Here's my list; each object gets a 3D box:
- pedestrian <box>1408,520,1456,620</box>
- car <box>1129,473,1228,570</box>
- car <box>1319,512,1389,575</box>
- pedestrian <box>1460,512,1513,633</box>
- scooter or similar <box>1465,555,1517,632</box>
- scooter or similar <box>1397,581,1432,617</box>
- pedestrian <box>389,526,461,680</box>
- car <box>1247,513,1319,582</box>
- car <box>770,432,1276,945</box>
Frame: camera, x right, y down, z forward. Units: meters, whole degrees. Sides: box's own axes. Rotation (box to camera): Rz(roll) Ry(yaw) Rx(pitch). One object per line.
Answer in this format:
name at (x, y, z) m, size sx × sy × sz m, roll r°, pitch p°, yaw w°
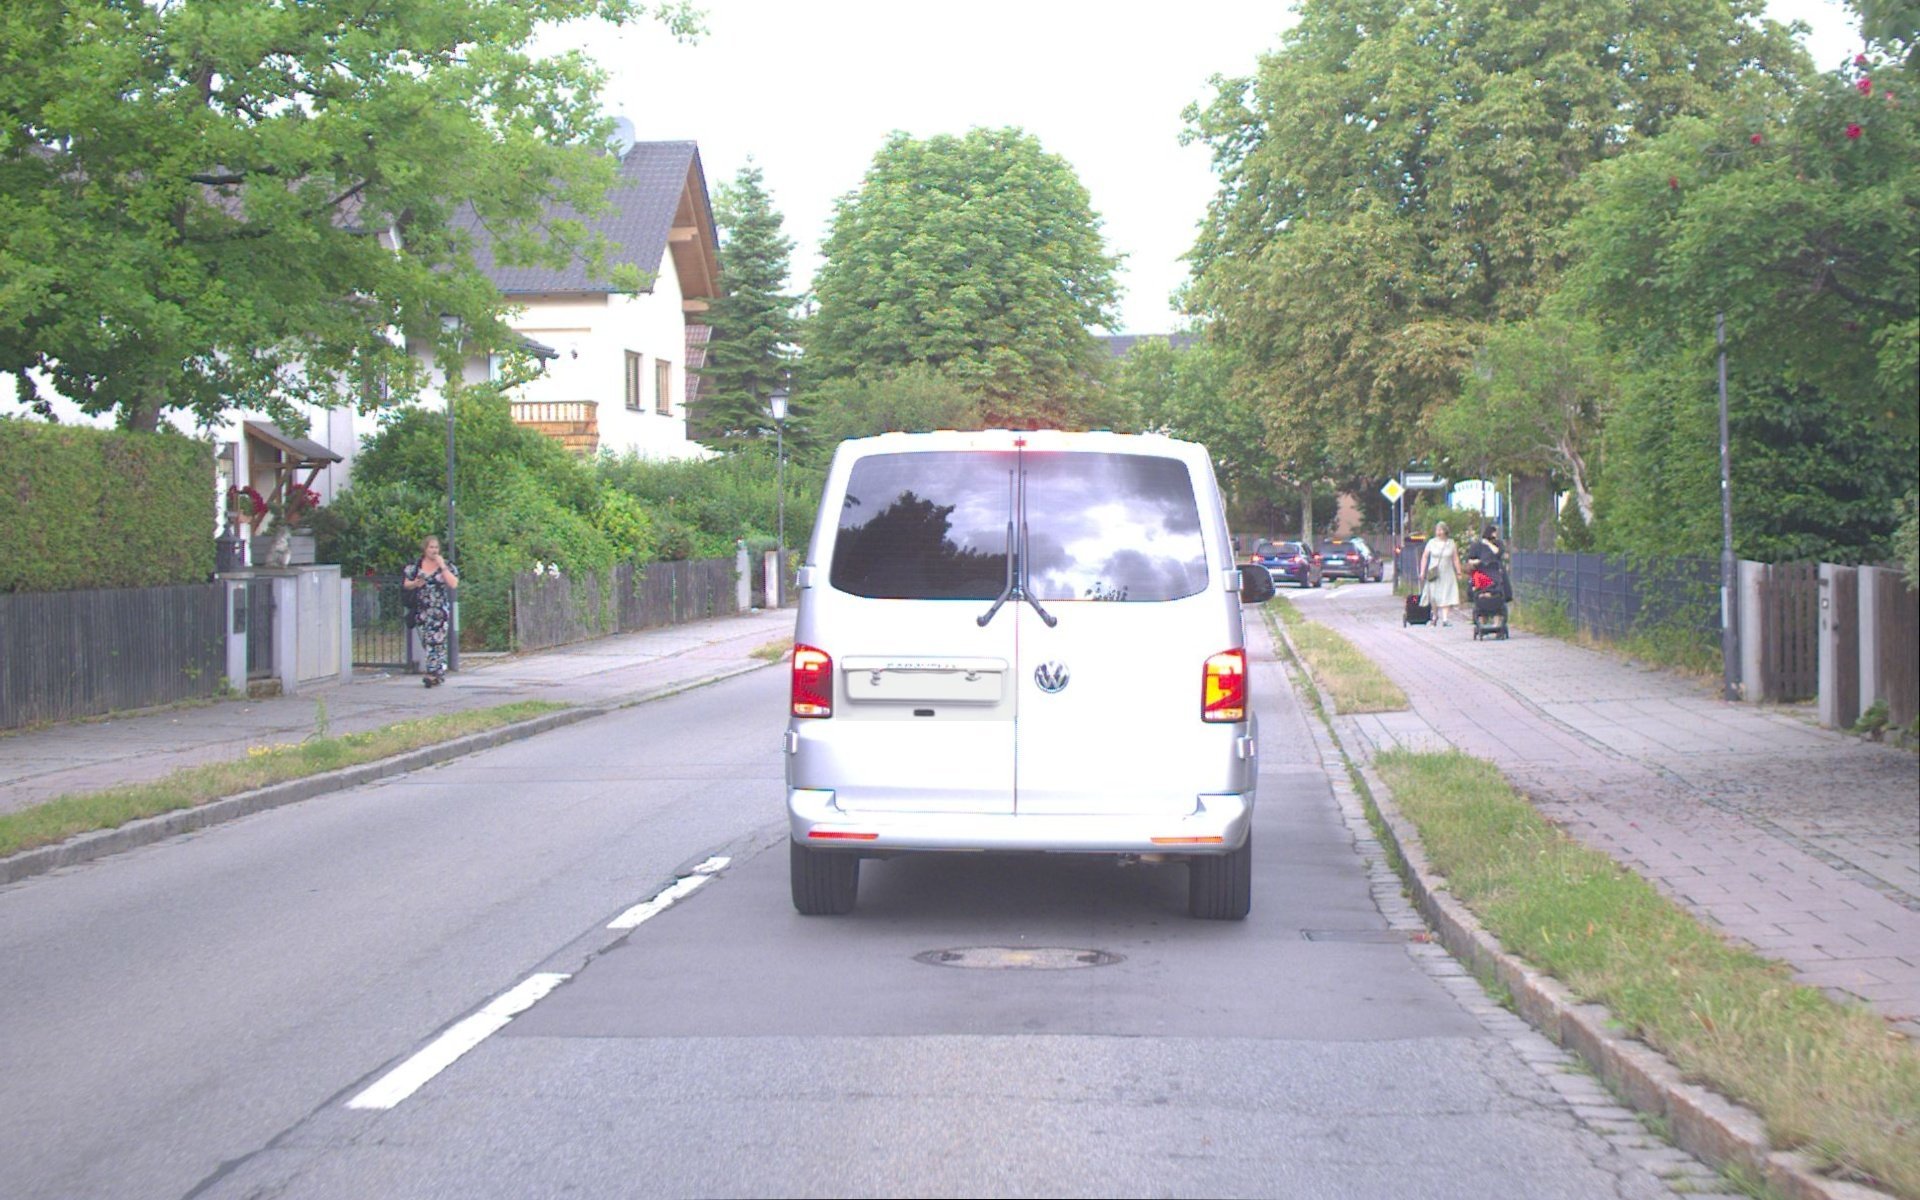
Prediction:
pedestrian at (7.236, -0.463, 52.706) m, size 0.622 × 1.518 × 0.579 m, roll 1°, pitch 1°, yaw 0°
car at (4.746, -1.685, 74.299) m, size 1.994 × 2.007 × 3.999 m, roll 1°, pitch 1°, yaw 5°
car at (13.059, -1.877, 113.839) m, size 1.994 × 2.007 × 3.998 m, roll -1°, pitch 1°, yaw 11°
pedestrian at (6.837, -0.356, 44.651) m, size 0.551 × 1.544 × 0.612 m, roll 1°, pitch 1°, yaw 0°
scooter or similar at (6.790, -0.084, 43.973) m, size 0.551 × 0.968 × 0.620 m, roll 1°, pitch 1°, yaw 0°
scooter or similar at (7.045, -0.016, 53.300) m, size 0.474 × 0.543 × 0.459 m, roll 1°, pitch 1°, yaw 0°
pedestrian at (-5.441, 0.030, 34.984) m, size 0.622 × 1.544 × 0.522 m, roll 1°, pitch 1°, yaw 0°
car at (9.782, -1.592, 103.855) m, size 1.994 × 2.007 × 3.999 m, roll -1°, pitch 1°, yaw 7°
car at (0.358, 0.299, 14.911) m, size 1.888 × 1.905 × 4.000 m, roll 1°, pitch 1°, yaw 4°
